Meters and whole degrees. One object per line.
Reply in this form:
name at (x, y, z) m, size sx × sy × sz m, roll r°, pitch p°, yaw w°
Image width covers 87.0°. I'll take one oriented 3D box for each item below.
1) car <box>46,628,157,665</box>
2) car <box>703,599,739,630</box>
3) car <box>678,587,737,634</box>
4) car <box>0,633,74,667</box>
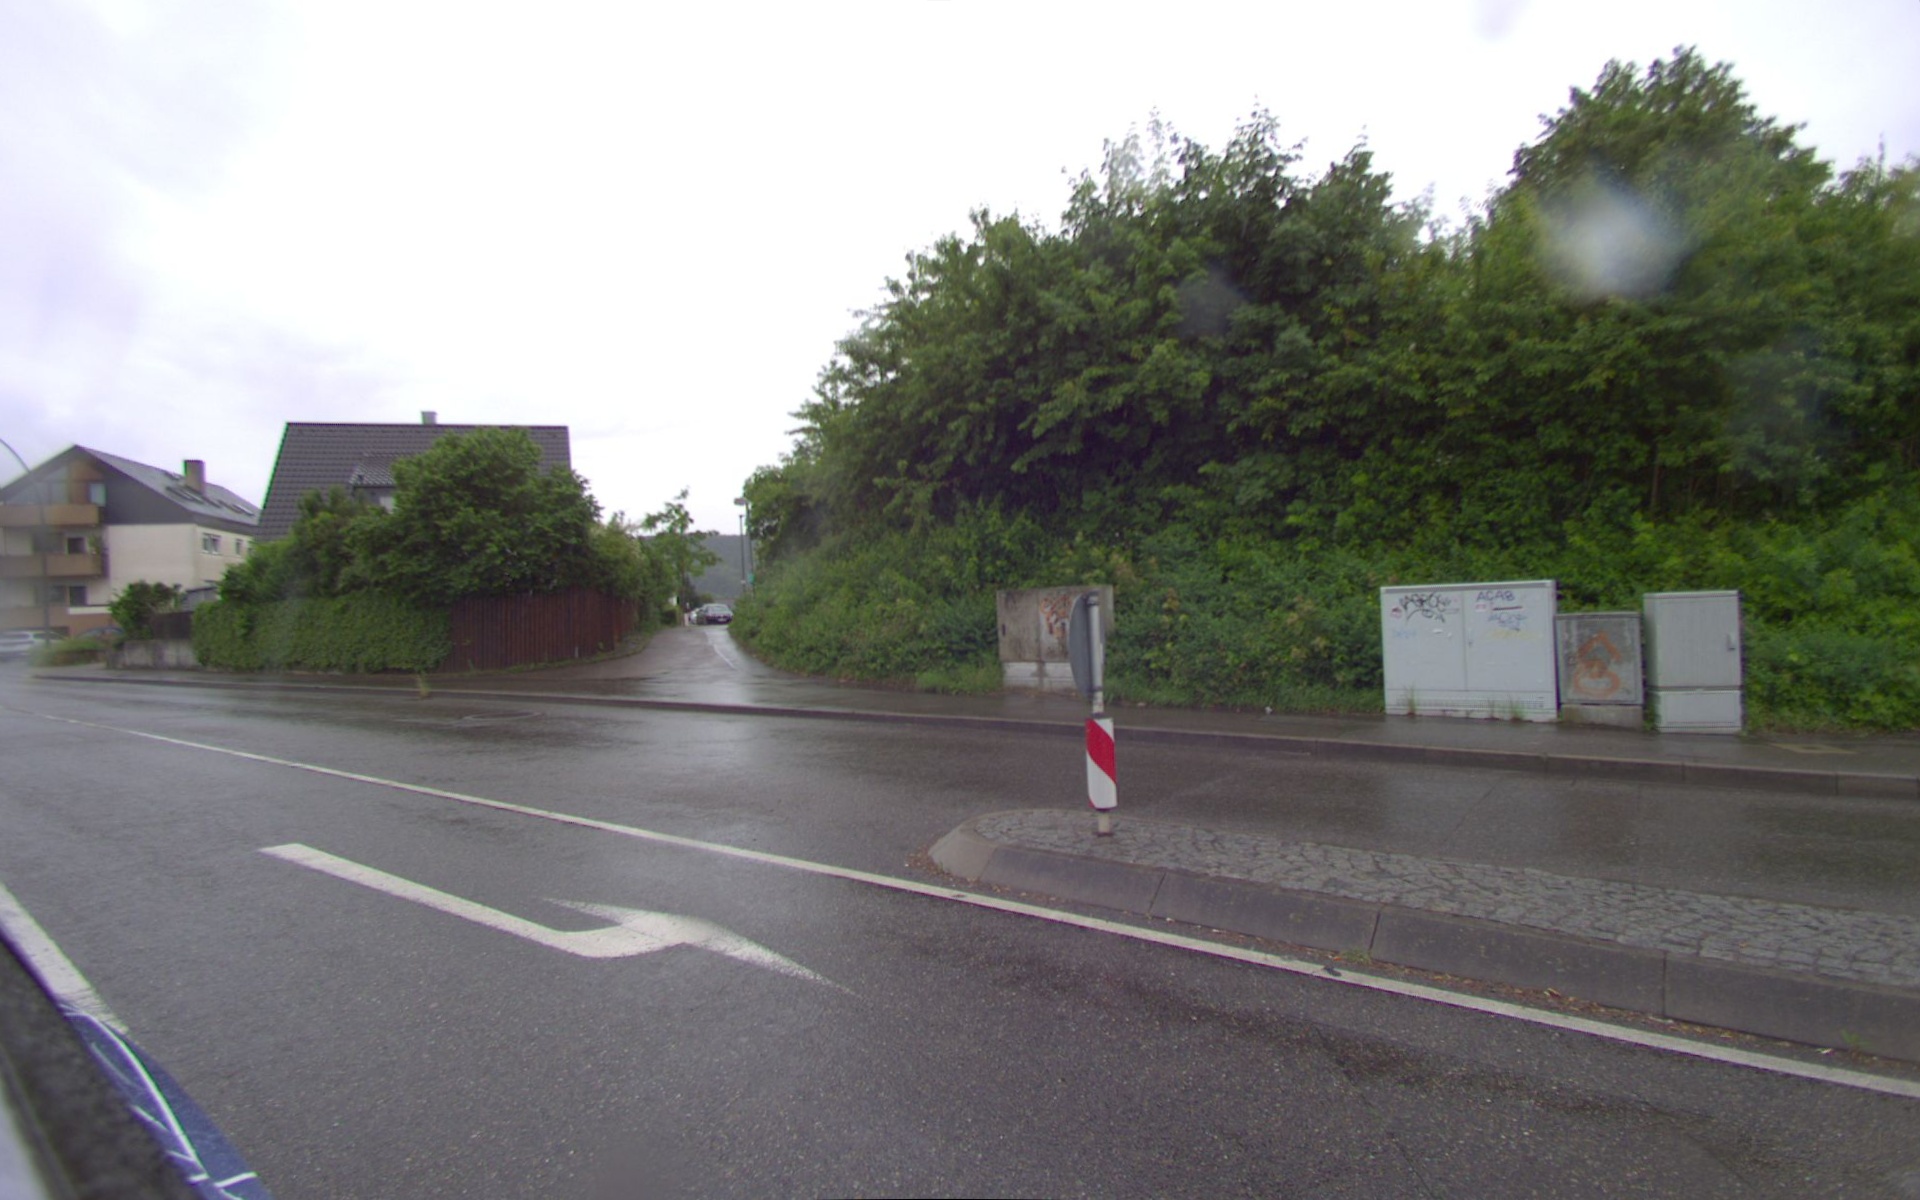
car at (-41.106, 2.203, 48.544) m, size 3.609 × 1.530 × 1.759 m, roll -2°, pitch 0°, yaw -15°
car at (-15.601, 0.936, 66.168) m, size 1.968 × 1.873 × 4.008 m, roll -2°, pitch 0°, yaw -9°
car at (-9.183, 0.365, 37.047) m, size 1.683 × 1.600 × 3.668 m, roll -1°, pitch 0°, yaw -8°
car at (-46.780, 2.490, 50.906) m, size 1.837 × 1.530 × 4.012 m, roll -2°, pitch 0°, yaw -18°
